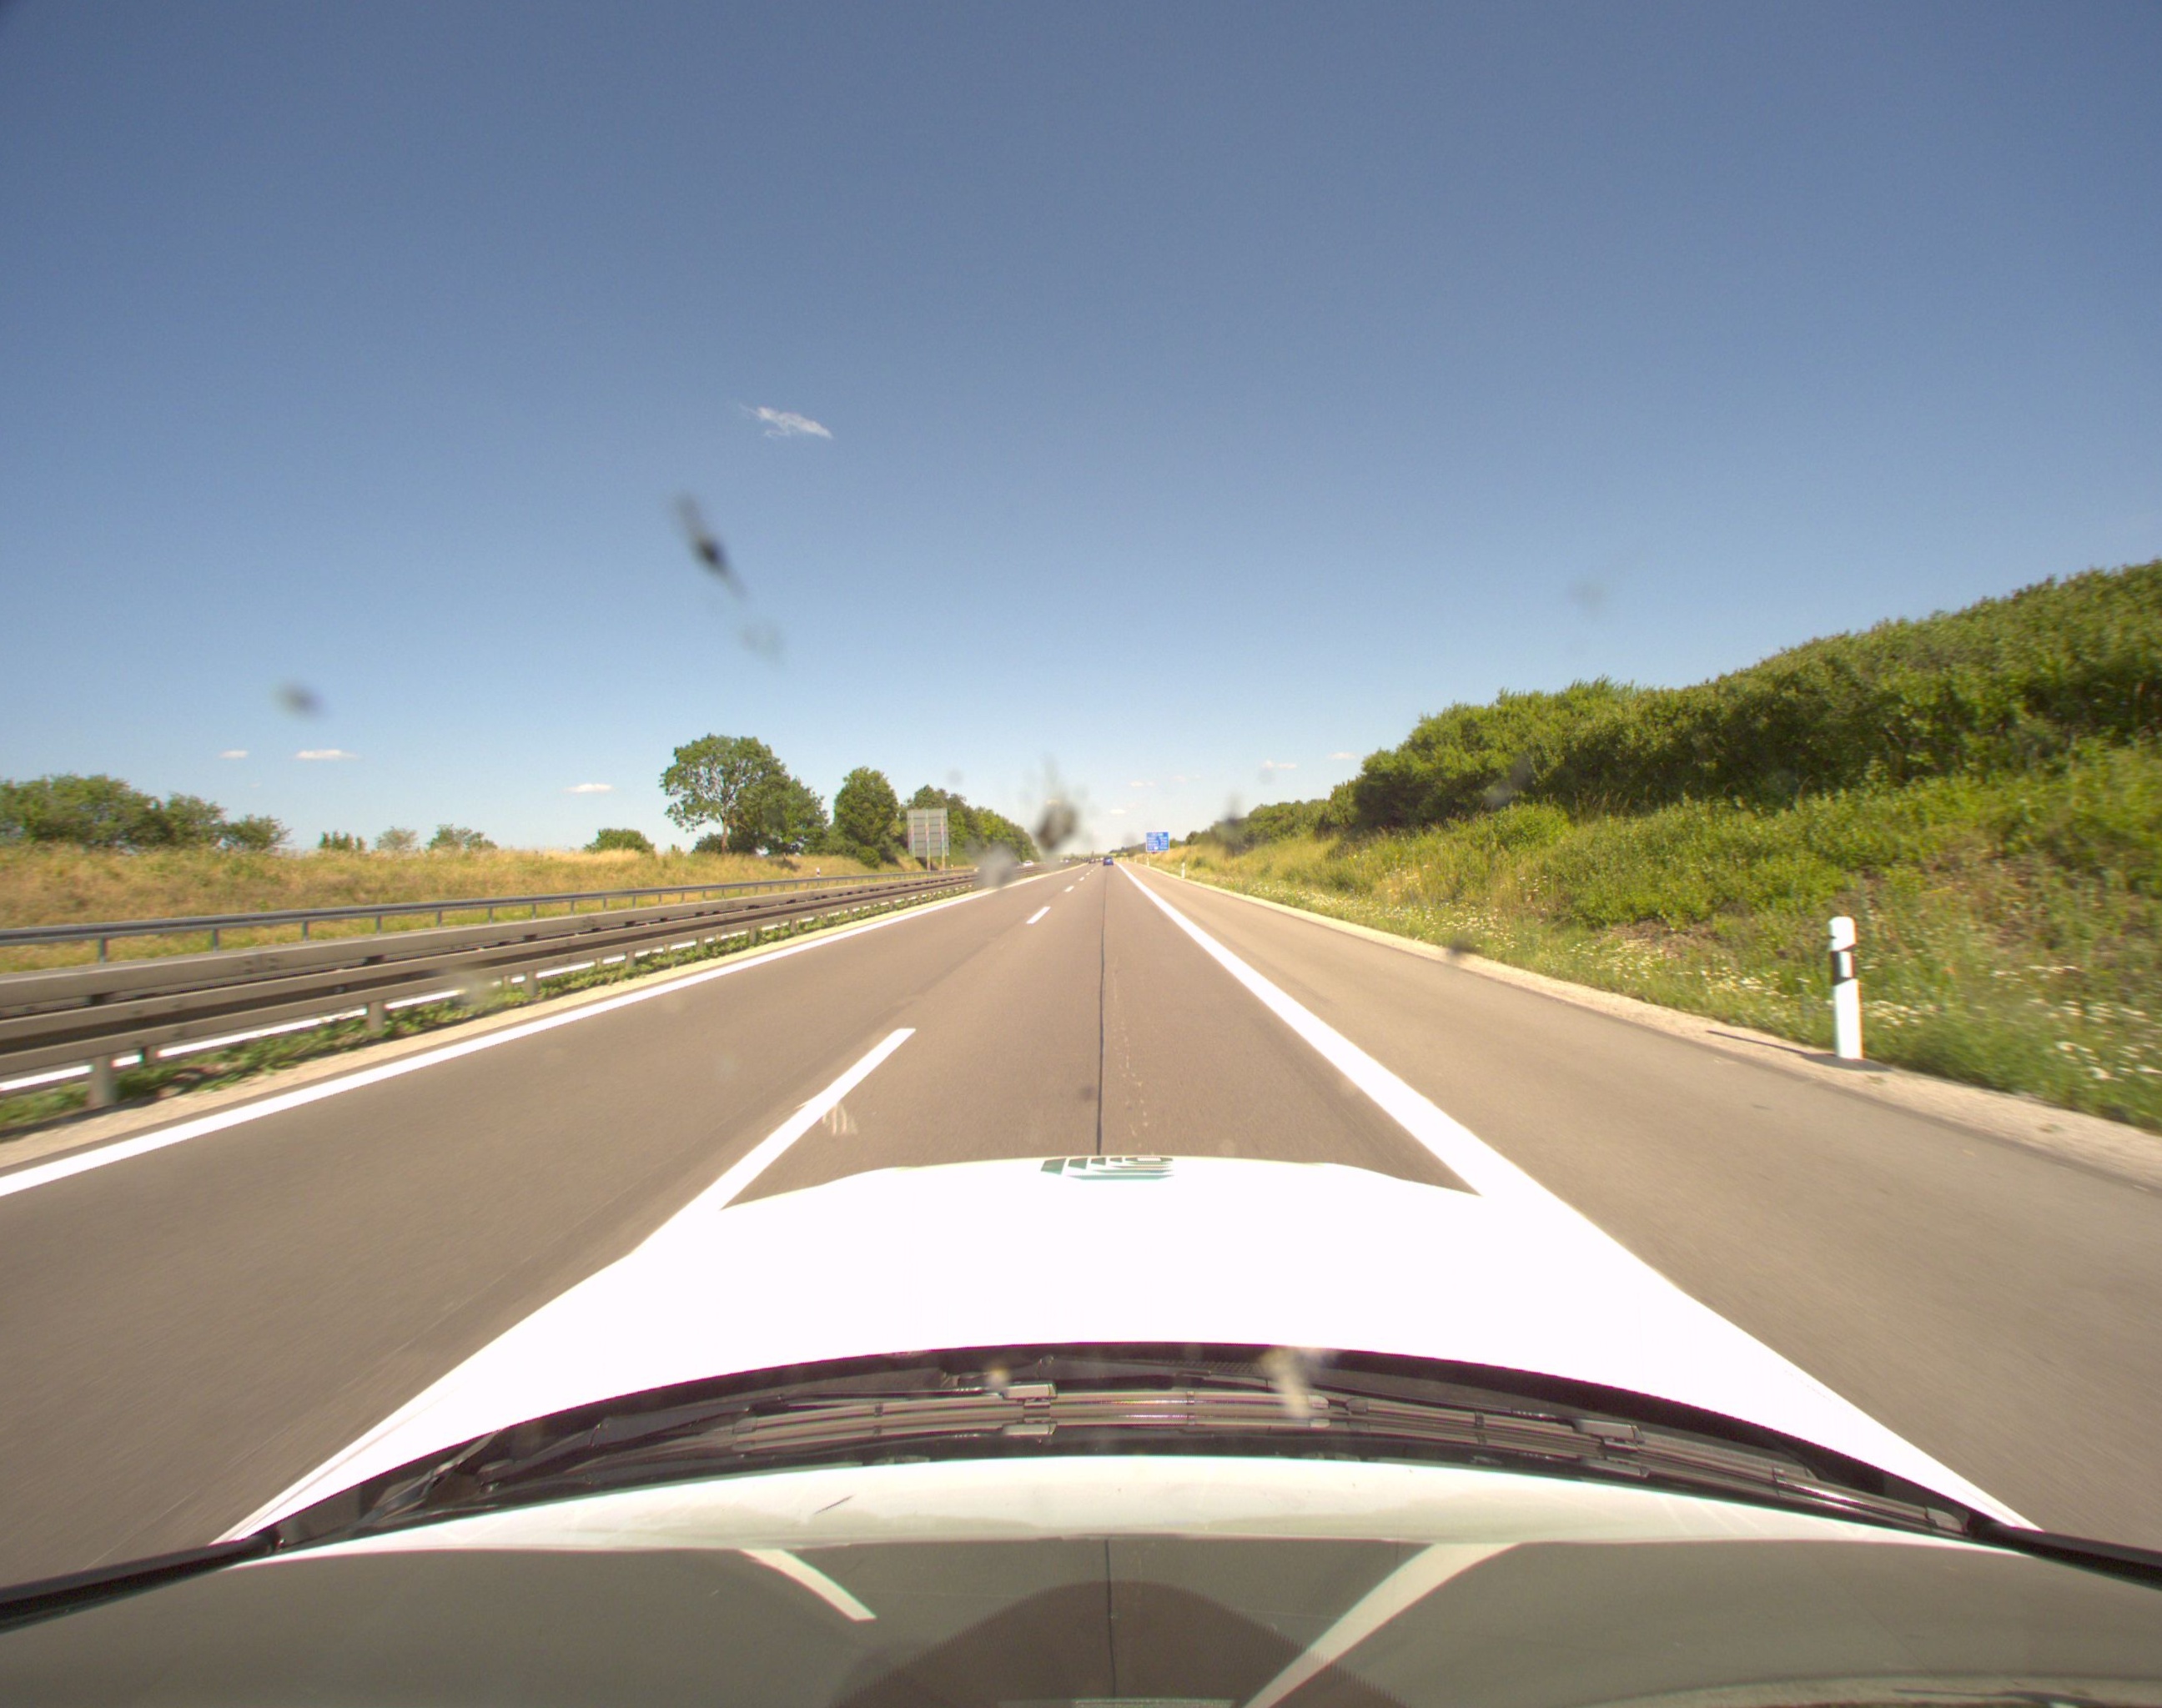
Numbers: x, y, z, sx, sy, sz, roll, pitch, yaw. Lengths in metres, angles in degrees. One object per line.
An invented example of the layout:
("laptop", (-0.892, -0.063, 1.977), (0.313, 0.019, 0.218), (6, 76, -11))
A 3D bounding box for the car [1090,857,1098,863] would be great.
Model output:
("car", (3.432, 1.720, 218.569), (1.822, 1.453, 3.594), (-4, -1, 2))

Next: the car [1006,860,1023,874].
("car", (-8.065, 1.574, 98.987), (1.610, 1.531, 4.002), (-2, 0, 2))

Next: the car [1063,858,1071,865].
("car", (-4.258, 2.270, 240.493), (1.986, 1.973, 5.041), (-3, 0, 2))

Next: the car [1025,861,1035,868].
("car", (-9.903, 2.010, 157.308), (1.516, 1.352, 4.234), (-2, 0, 2))

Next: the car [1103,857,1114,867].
("car", (4.638, 1.336, 135.901), (1.669, 1.453, 3.594), (-4, -1, 3))

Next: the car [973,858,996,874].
("car", (-11.762, 1.441, 99.409), (1.937, 1.845, 5.186), (-2, 0, 2))
